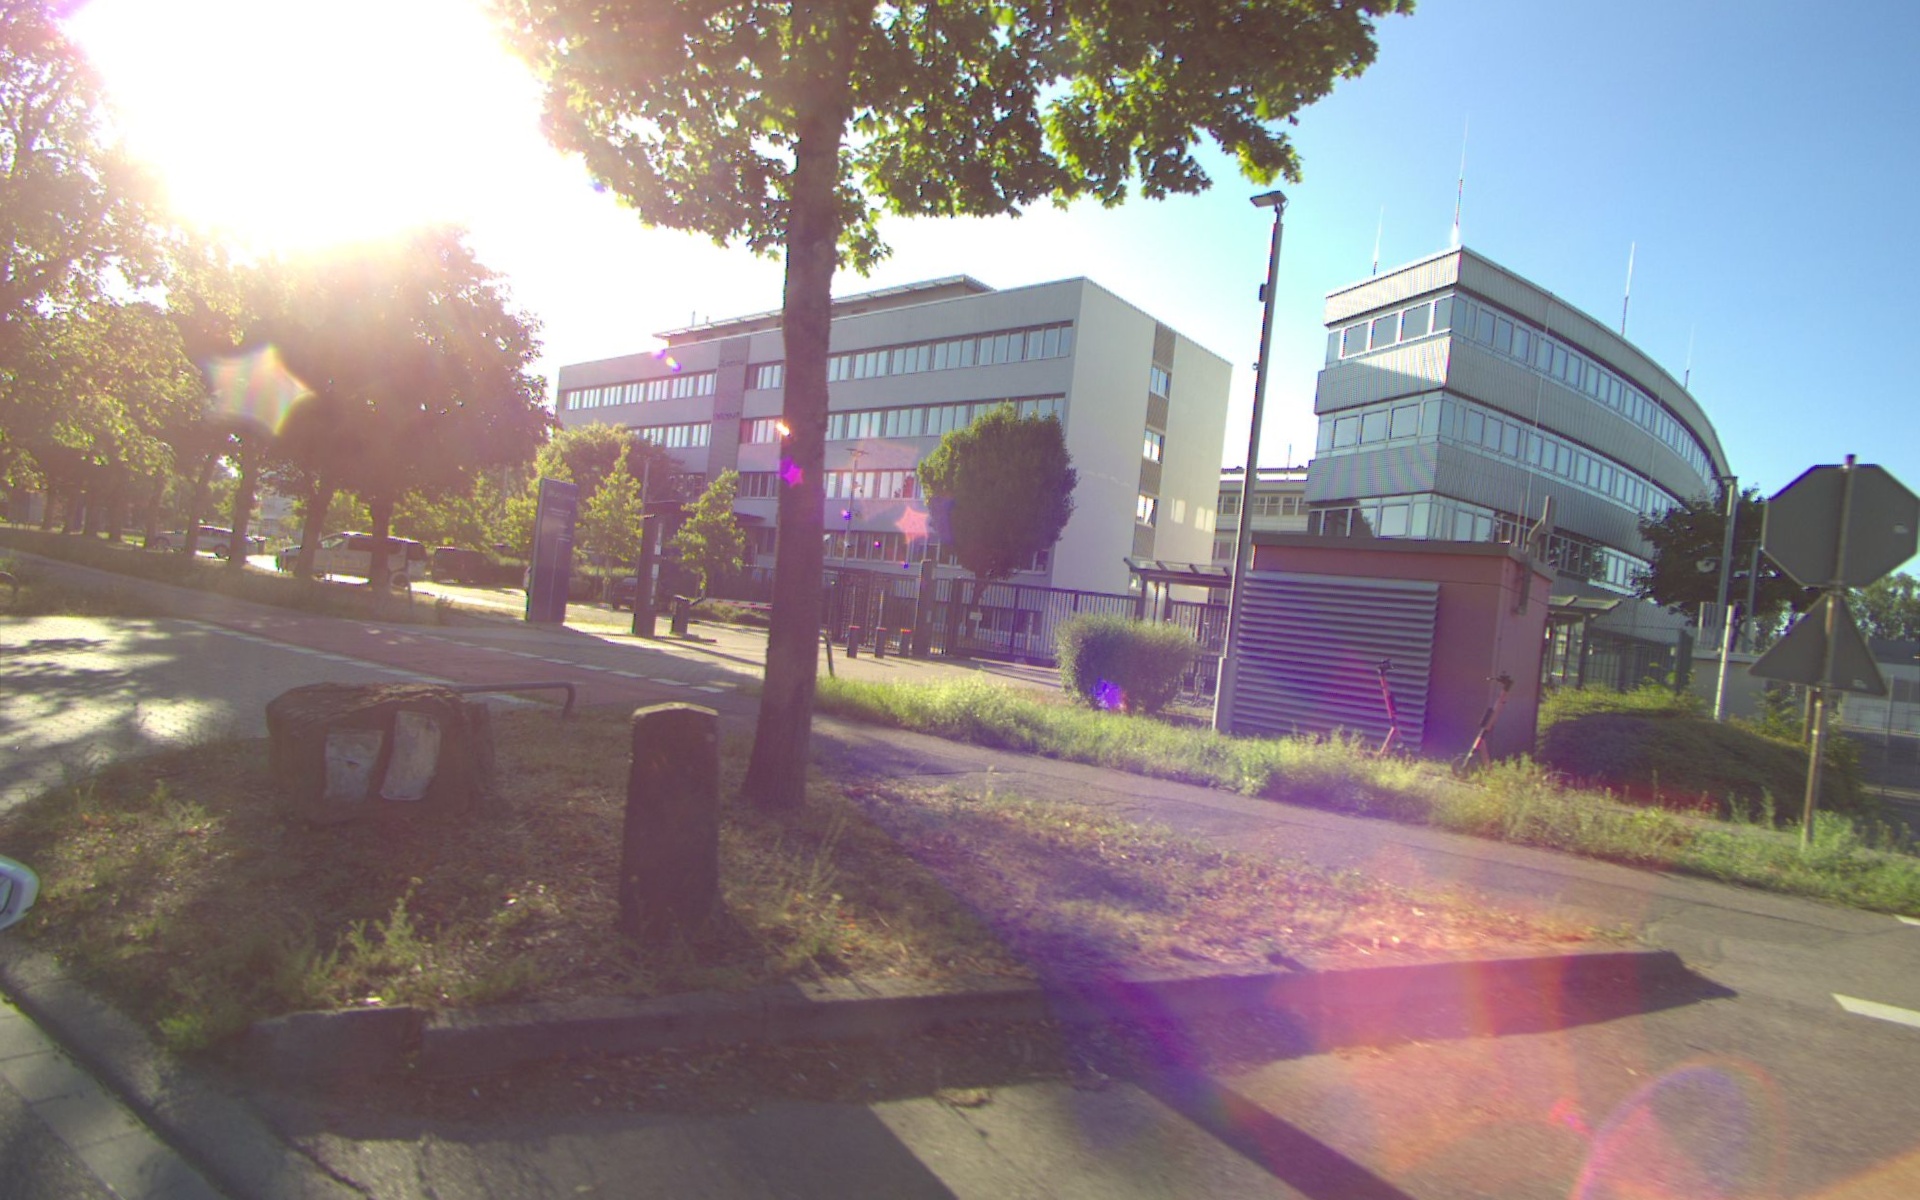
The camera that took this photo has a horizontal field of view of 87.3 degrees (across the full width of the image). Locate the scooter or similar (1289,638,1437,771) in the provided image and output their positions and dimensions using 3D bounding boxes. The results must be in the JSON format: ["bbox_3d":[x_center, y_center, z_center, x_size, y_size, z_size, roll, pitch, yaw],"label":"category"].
[{"bbox_3d":[4.539,1.155,11.366,1.365,1.288,0.520,6,1,33],"label":"scooter or similar"}]

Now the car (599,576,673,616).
[{"bbox_3d":[-13.217,-0.128,41.326,1.774,1.370,3.999,6,-1,-2],"label":"car"}]

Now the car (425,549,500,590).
[{"bbox_3d":[-25.887,-1.532,52.487,1.735,1.771,4.493,6,0,-3],"label":"car"}]

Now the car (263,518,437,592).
[{"bbox_3d":[-22.245,-1.603,36.857,4.867,1.957,1.998,8,0,-5],"label":"car"}]

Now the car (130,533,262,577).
[{"bbox_3d":[-38.933,-2.286,51.416,4.873,1.593,1.995,6,0,-13],"label":"car"}]

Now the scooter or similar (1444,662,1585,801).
[{"bbox_3d":[5.931,1.371,10.769,1.181,1.288,0.520,6,0,33],"label":"scooter or similar"}]

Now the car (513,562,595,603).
[{"bbox_3d":[-18.387,-0.756,45.771,1.773,1.547,4.313,6,-1,1],"label":"car"}]
